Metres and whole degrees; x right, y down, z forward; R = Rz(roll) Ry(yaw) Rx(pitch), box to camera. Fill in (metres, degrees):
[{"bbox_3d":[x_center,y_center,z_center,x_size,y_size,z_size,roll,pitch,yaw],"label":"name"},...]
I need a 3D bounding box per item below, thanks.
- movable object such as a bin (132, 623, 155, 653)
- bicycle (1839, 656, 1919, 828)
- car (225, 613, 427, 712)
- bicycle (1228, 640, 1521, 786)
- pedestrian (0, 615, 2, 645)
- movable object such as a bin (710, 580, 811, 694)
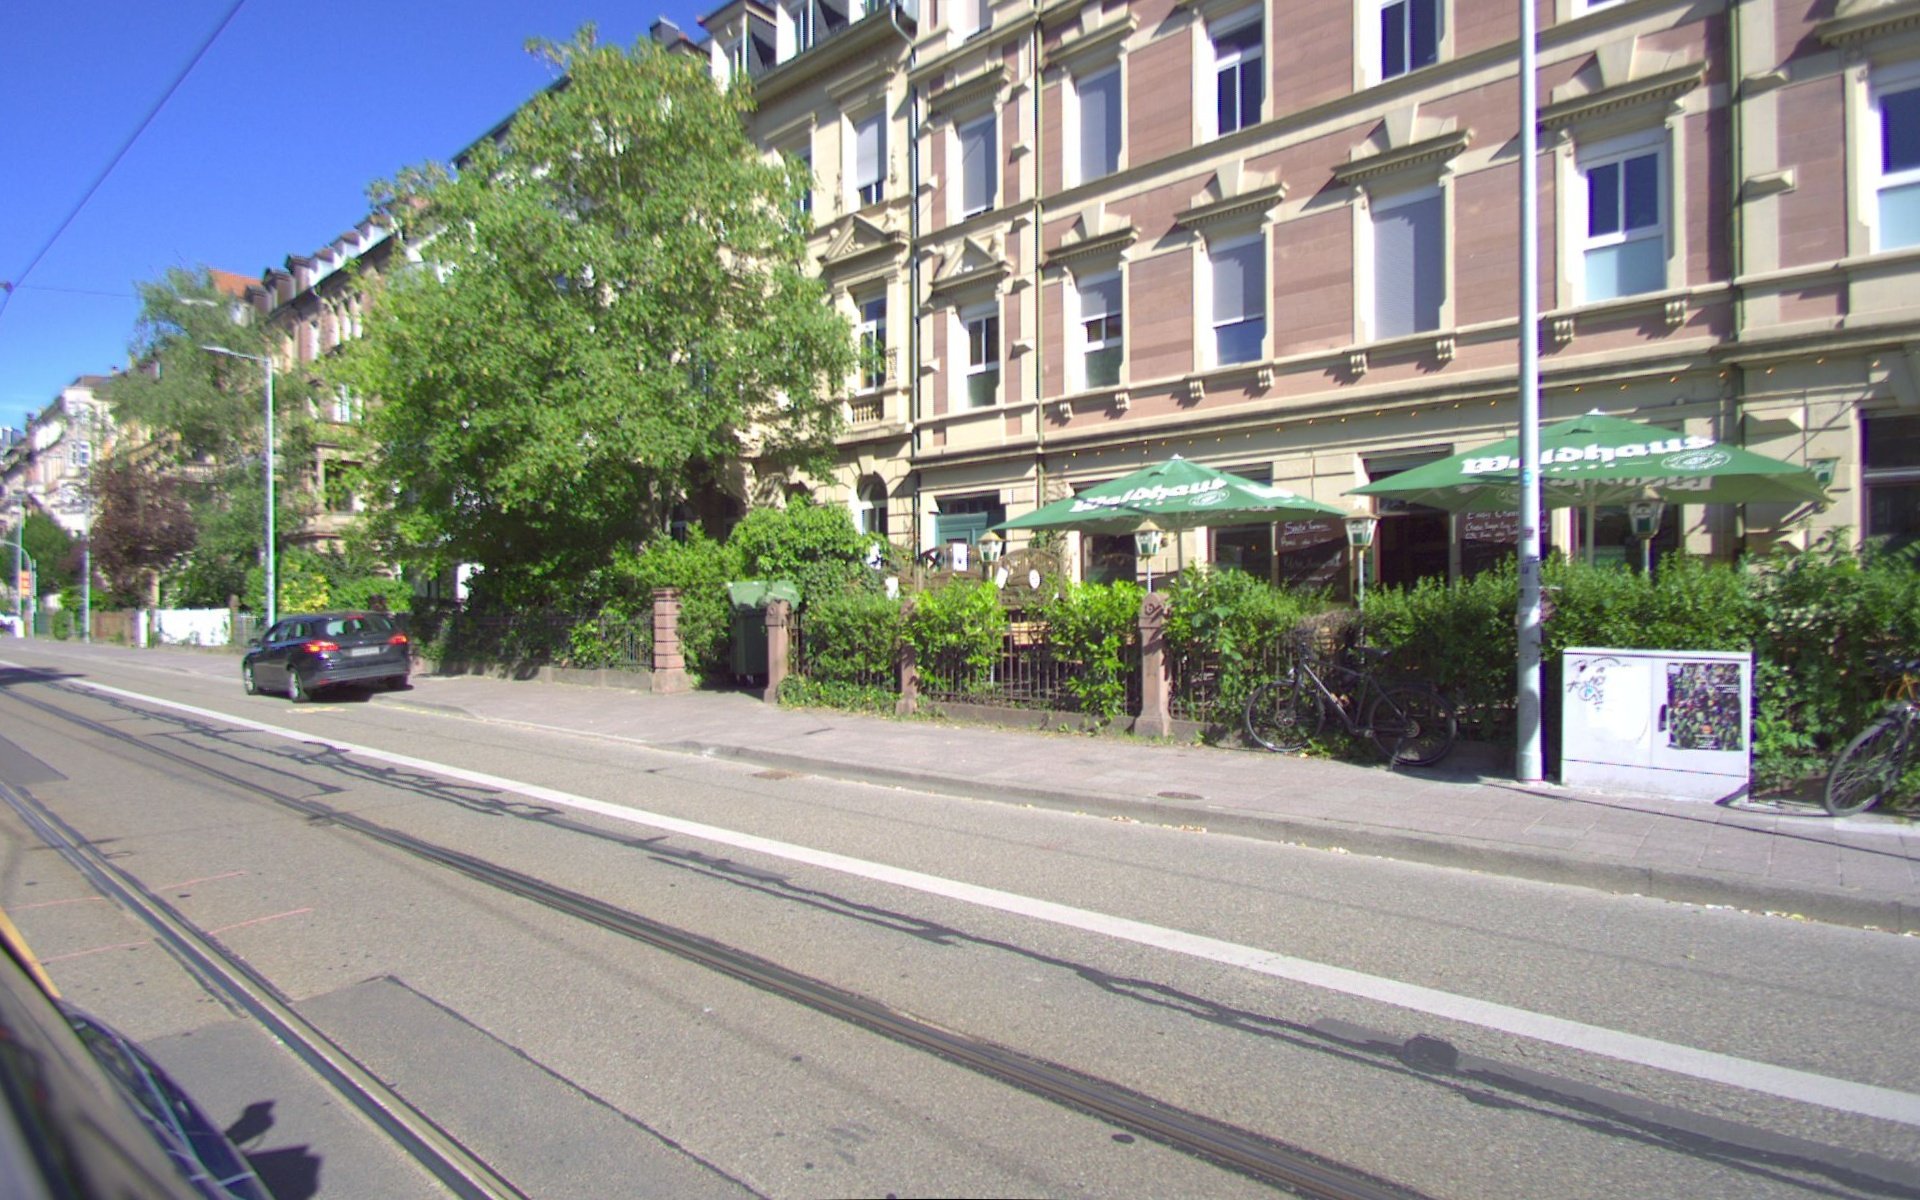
[{"bbox_3d":[-33.183,1.542,41.119,0.664,1.184,0.583,-1,-1,36],"label":"movable object such as a bin"},{"bbox_3d":[6.238,0.844,5.809,1.777,0.988,0.522,-1,-1,41],"label":"bicycle"},{"bbox_3d":[-11.662,1.061,18.491,4.586,1.588,1.845,-1,-3,41],"label":"car"},{"bbox_3d":[3.398,0.880,8.494,2.222,1.046,0.508,-1,-1,42],"label":"bicycle"},{"bbox_3d":[-60.761,1.896,63.598,0.798,1.850,0.755,0,-1,-41],"label":"pedestrian"},{"bbox_3d":[-3.308,0.585,16.789,1.268,1.744,1.045,-3,1,-33],"label":"movable object such as a bin"}]
